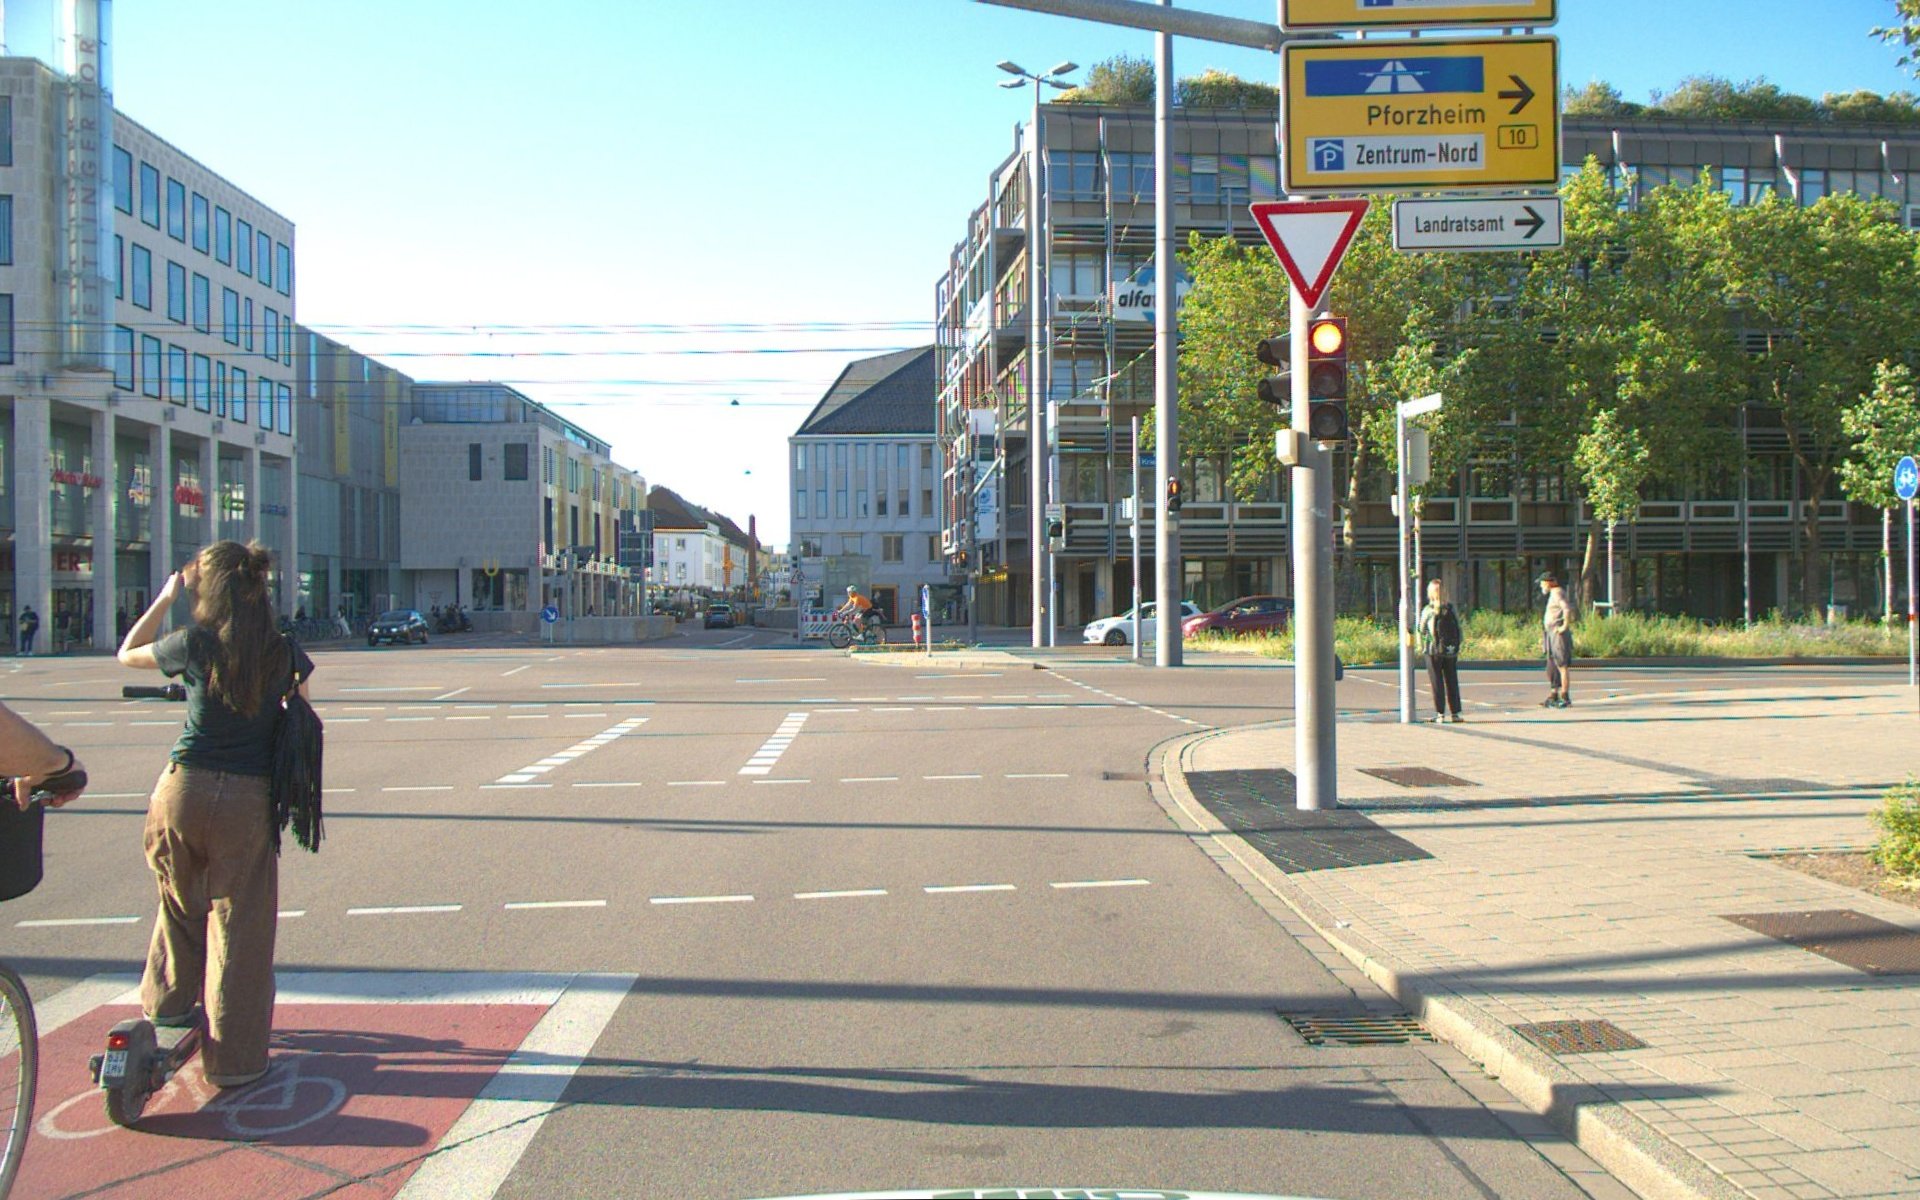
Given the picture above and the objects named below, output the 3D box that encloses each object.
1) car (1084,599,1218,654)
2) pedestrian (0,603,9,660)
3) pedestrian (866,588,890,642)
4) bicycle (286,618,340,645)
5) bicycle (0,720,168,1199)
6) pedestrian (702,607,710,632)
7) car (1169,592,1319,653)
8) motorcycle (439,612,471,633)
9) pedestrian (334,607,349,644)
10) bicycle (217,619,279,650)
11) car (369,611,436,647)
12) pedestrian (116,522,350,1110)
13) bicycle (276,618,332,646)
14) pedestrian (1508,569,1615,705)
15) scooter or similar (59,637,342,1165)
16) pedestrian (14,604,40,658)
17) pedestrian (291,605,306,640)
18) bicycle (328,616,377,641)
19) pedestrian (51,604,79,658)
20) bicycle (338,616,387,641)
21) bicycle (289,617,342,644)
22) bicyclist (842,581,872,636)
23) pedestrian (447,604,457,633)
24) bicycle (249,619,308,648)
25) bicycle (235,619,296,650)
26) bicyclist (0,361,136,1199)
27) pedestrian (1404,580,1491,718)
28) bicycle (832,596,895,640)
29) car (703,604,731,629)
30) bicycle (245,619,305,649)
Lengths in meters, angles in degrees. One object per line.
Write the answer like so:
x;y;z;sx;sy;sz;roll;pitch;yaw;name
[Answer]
5.857;0.801;50.955;3.825;1.613;1.656;1;0;-8;car
-33.142;1.074;56.834;0.706;1.918;0.780;1;-1;-28;pedestrian
-2.965;0.544;59.868;0.628;1.923;0.791;1;-1;14;pedestrian
-30.067;1.454;76.847;2.260;1.244;0.611;0;0;-3;bicycle
-2.079;0.866;2.927;0.475;1.176;1.831;1;0;-1;bicycle
-17.901;1.367;116.709;0.511;1.709;0.582;1;0;-8;pedestrian
7.854;0.616;45.886;3.811;1.613;1.657;-1;0;-7;car
-29.765;1.332;97.474;1.775;1.228;0.509;1;0;-16;motorcycle
-30.260;1.245;80.908;0.639;1.749;0.447;0;0;-25;pedestrian
-29.336;1.428;68.115;2.260;1.244;0.611;0;0;-3;bicycle
-23.380;1.210;69.483;1.597;1.365;3.998;-3;0;-3;car
-2.186;0.614;5.028;0.540;1.661;0.569;1;-1;-16;pedestrian
-29.607;1.452;74.696;2.260;1.244;0.611;0;0;-3;bicycle
7.709;0.468;21.212;0.866;1.694;0.958;1;-1;-22;pedestrian
-2.176;0.783;4.860;0.538;1.316;1.189;1;0;-15;scooter or similar
-32.864;1.081;58.261;0.787;1.876;0.856;0;0;-29;pedestrian
-32.982;1.122;82.512;0.560;1.709;0.614;1;0;-10;pedestrian
-30.931;1.471;84.266;2.260;1.244;0.611;0;0;-3;bicycle
-31.173;1.073;57.602;0.788;1.876;0.854;0;0;-33;pedestrian
-30.819;1.478;85.336;2.260;1.244;0.611;0;0;-3;bicycle
-30.717;1.451;78.817;2.260;1.244;0.611;0;0;-3;bicycle
-2.783;0.223;44.637;0.700;1.462;0.494;1;-1;-18;bicyclist
-30.102;1.078;98.077;0.512;1.709;0.581;1;0;-14;pedestrian
-29.506;1.440;71.631;2.260;1.244;0.611;0;0;-3;bicycle
-29.128;1.437;69.401;2.260;1.244;0.611;0;0;-3;bicycle
-1.976;0.462;2.852;0.647;1.750;0.865;1;-1;-1;bicyclist
5.517;0.549;18.750;0.772;1.518;0.644;1;-1;-1;pedestrian
-2.612;0.485;44.699;1.619;1.175;0.494;1;-1;-18;bicycle
-15.830;1.062;107.945;1.705;1.558;3.849;1;0;-8;car
-29.293;1.440;70.755;2.260;1.244;0.611;0;0;-3;bicycle
